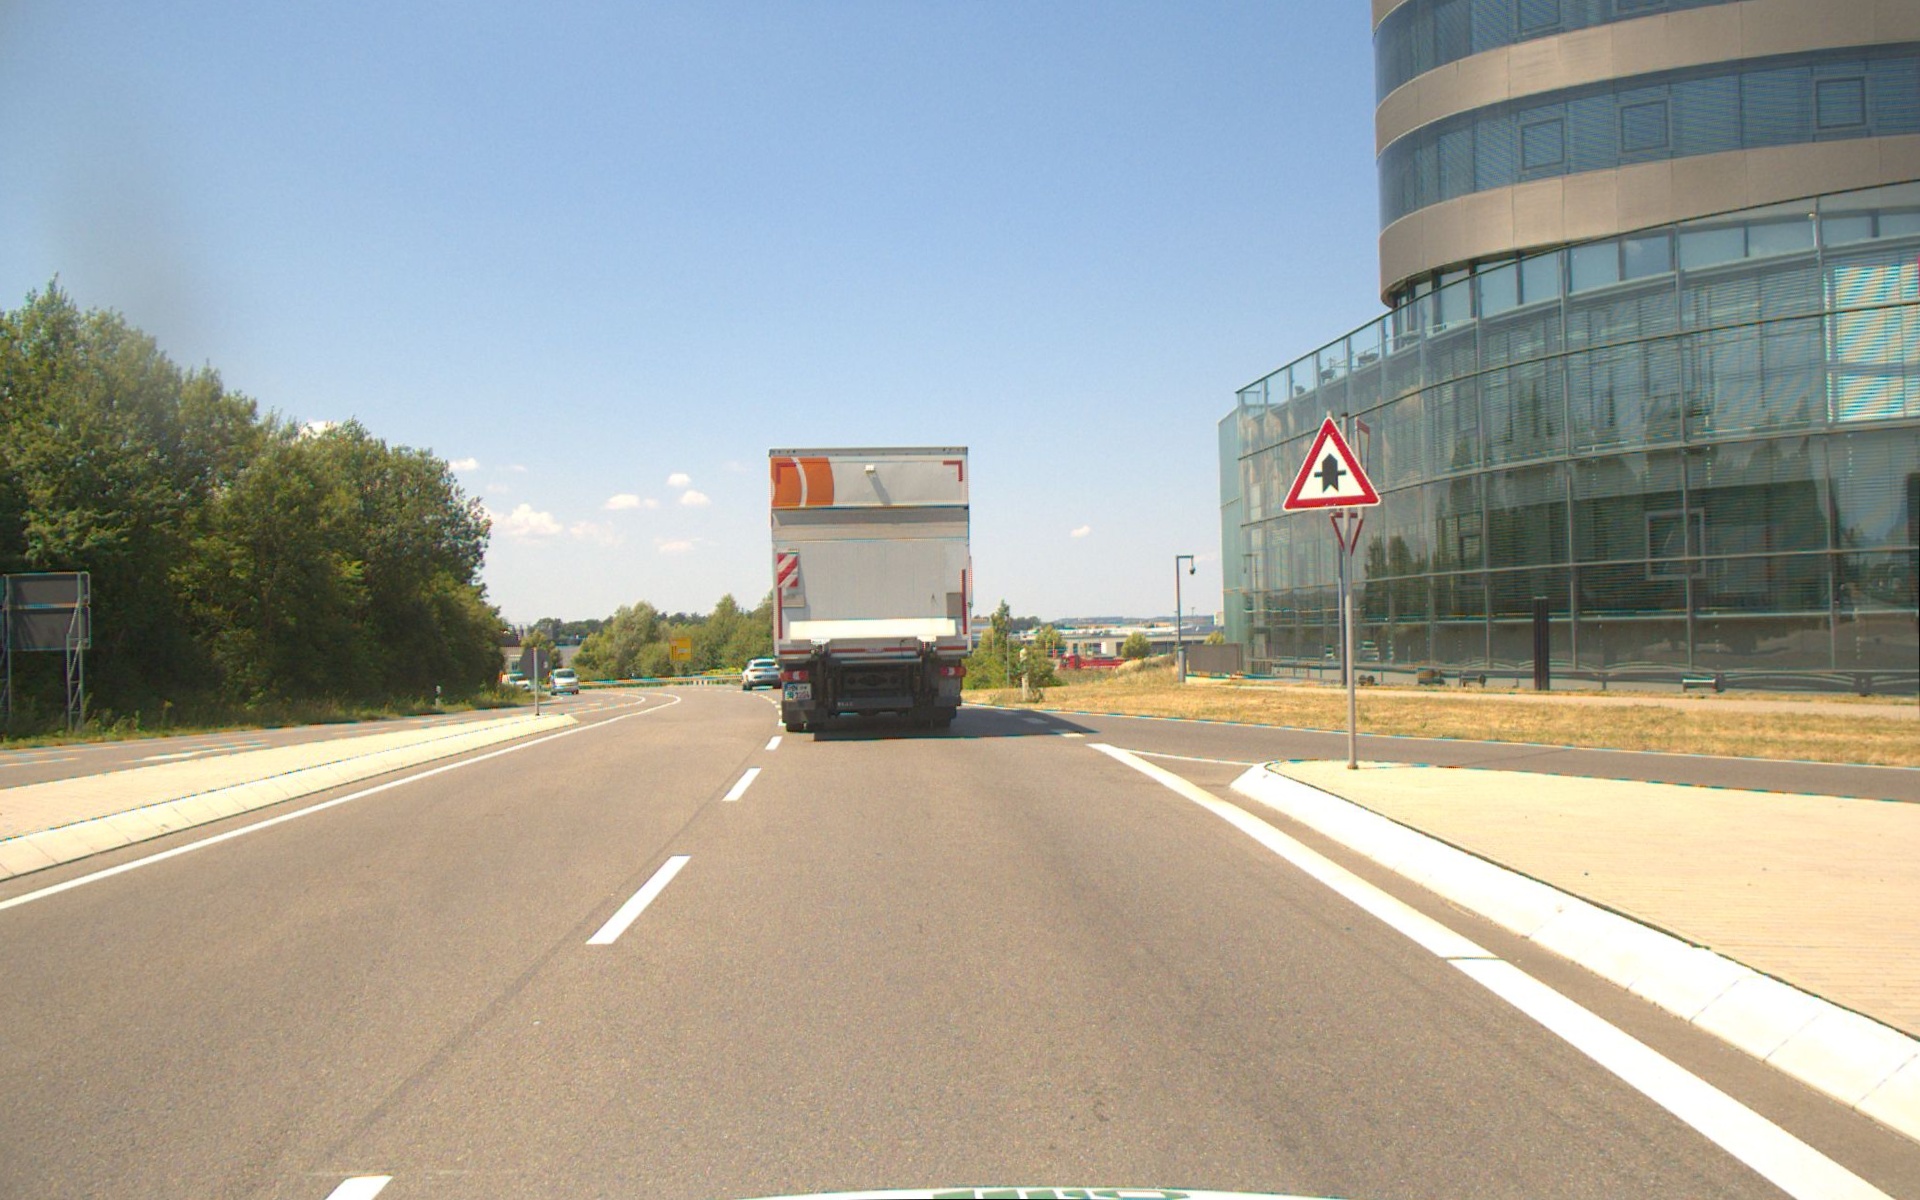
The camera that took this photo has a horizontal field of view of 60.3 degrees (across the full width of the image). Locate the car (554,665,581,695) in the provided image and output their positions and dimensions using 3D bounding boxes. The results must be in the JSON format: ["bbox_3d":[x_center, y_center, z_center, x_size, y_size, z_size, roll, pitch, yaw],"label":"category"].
[{"bbox_3d":[-29.427,5.975,123.985,1.774,2.005,3.981,1,0,-17],"label":"car"}]

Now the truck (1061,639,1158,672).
[{"bbox_3d":[16.105,5.992,178.445,10.150,3.276,2.457,0,0,21],"label":"truck"}]

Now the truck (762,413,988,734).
[{"bbox_3d":[-1.421,-0.219,25.155,2.715,3.927,9.360,-1,-2,-5],"label":"truck"}]

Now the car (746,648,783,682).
[{"bbox_3d":[-9.910,3.270,83.656,1.768,1.584,3.993,1,0,-7],"label":"car"}]
